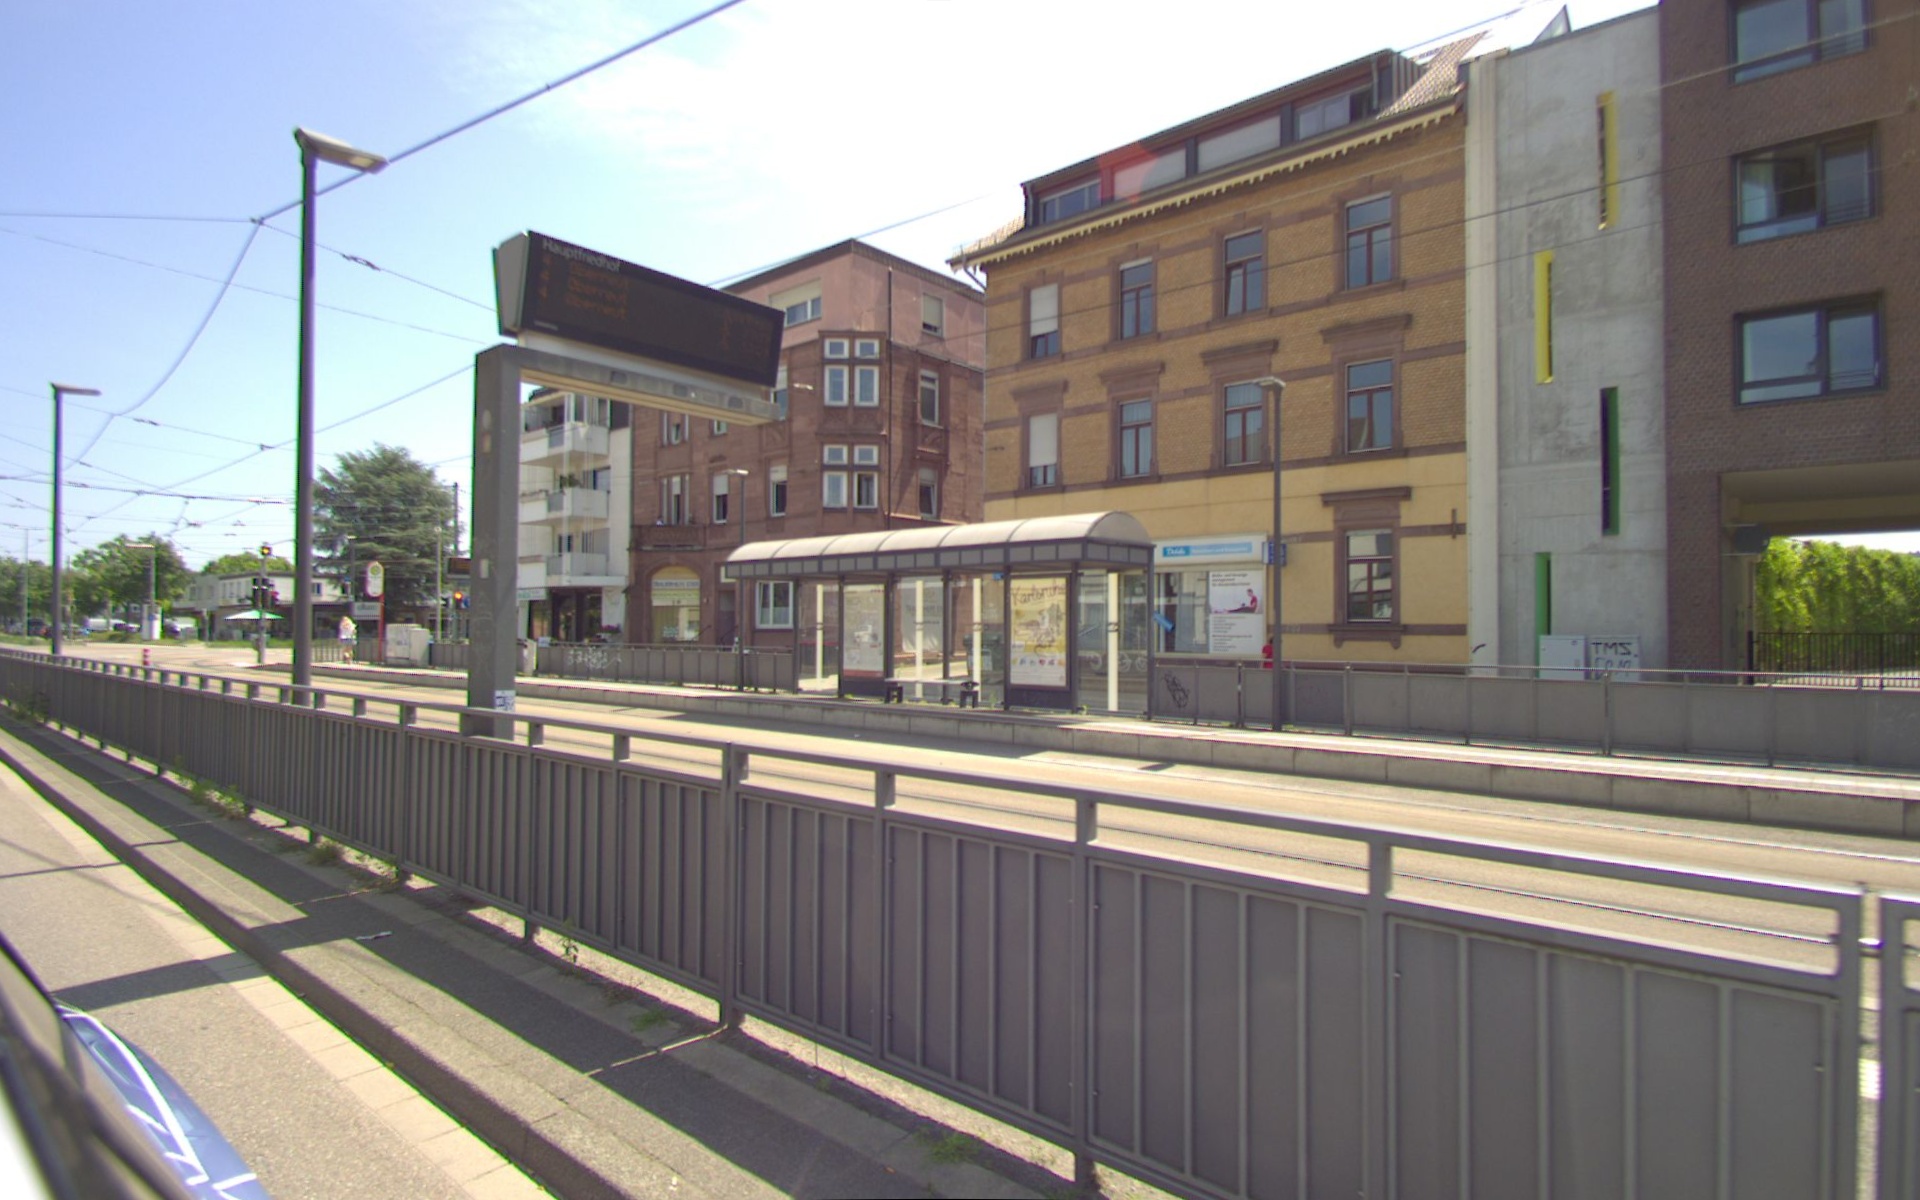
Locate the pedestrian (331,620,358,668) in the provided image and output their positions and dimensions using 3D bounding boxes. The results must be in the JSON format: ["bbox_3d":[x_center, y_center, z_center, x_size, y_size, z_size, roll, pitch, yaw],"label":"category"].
[{"bbox_3d":[-21.336,1.520,35.085,0.676,1.637,0.590,-1,-4,42],"label":"pedestrian"}]

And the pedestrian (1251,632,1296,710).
[{"bbox_3d":[6.598,1.469,21.305,0.714,1.608,0.597,-1,-2,39],"label":"pedestrian"}]
